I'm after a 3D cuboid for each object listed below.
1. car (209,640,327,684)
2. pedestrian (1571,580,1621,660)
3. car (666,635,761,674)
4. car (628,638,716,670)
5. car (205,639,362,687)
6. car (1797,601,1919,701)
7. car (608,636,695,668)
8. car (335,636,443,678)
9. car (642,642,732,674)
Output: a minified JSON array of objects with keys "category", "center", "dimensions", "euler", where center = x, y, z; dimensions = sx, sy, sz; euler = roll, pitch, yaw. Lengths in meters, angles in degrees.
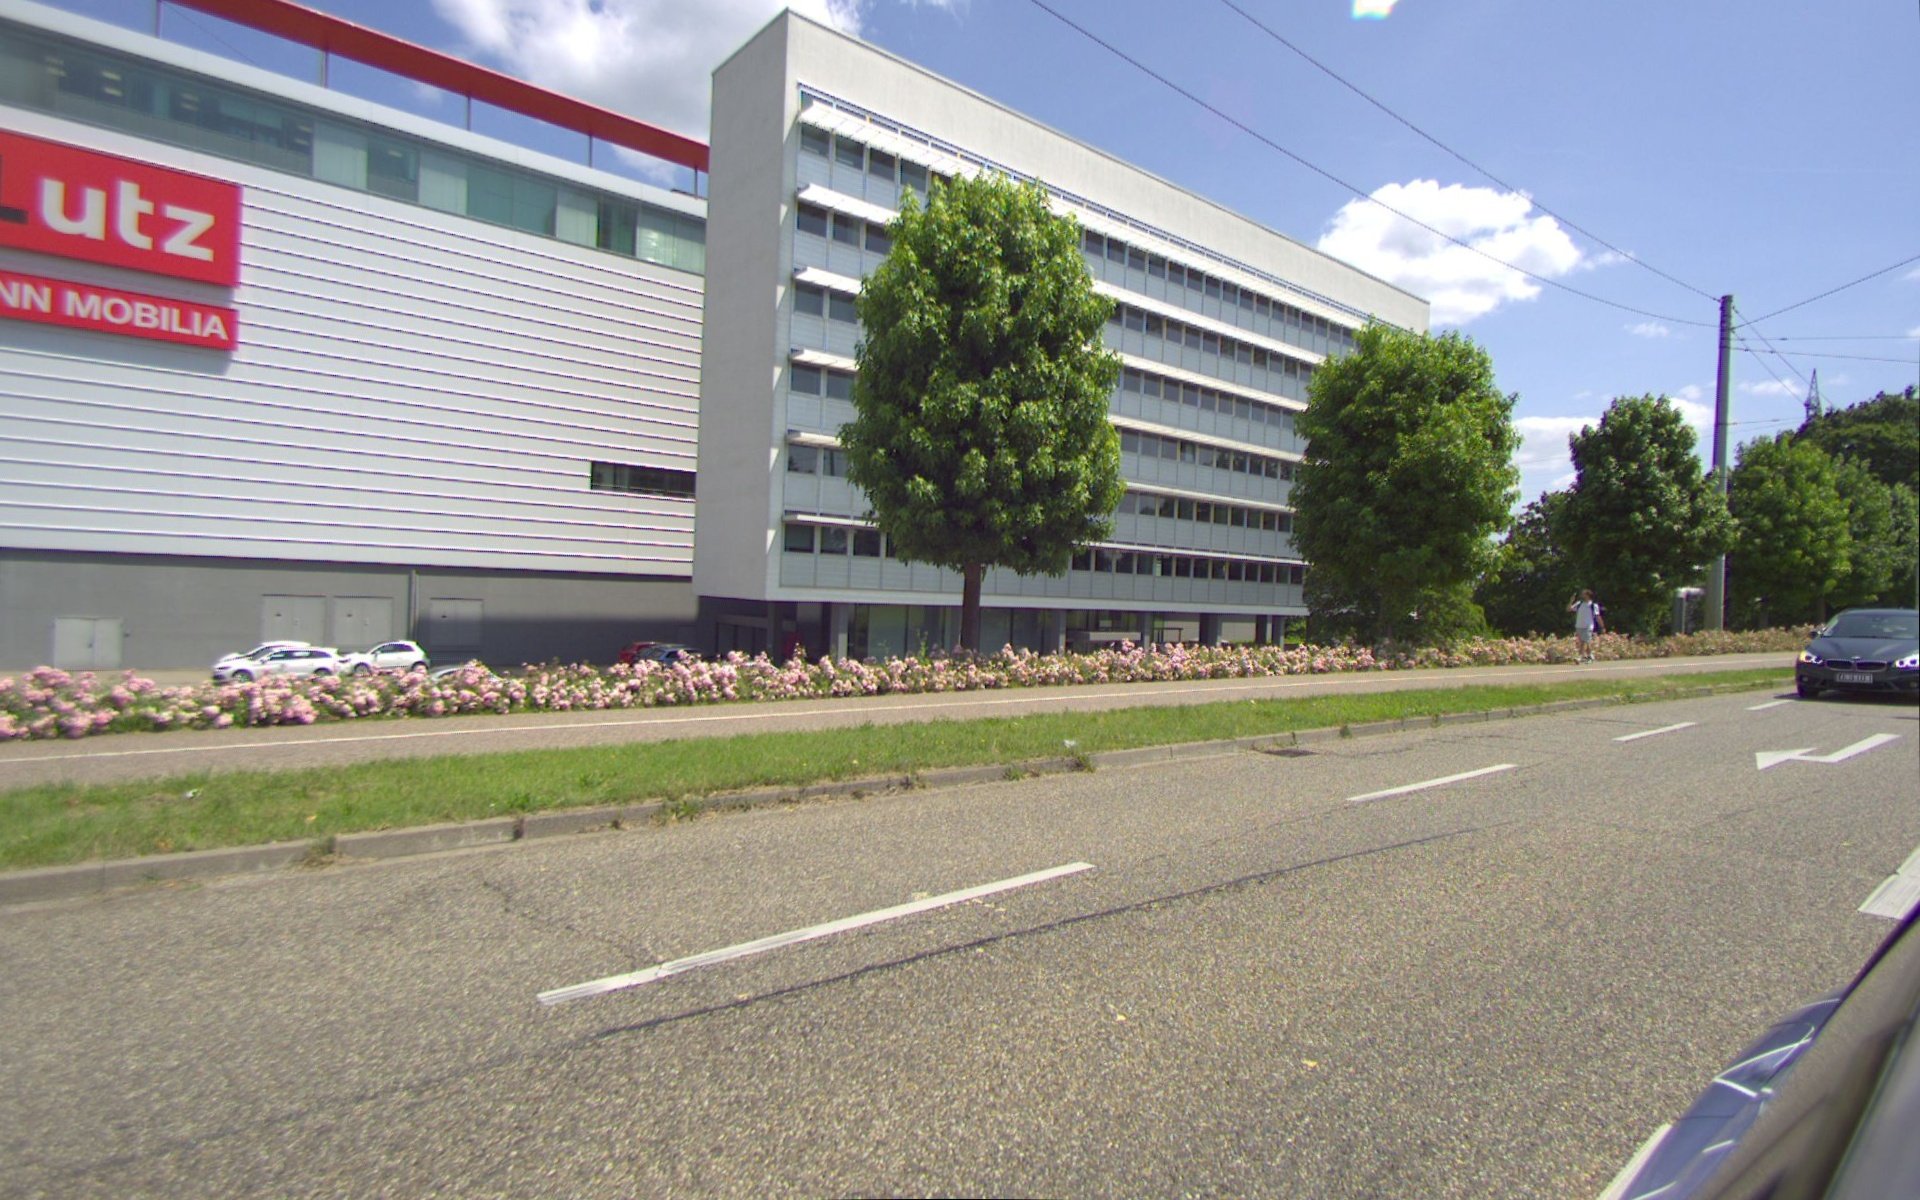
[{"category":"car","center":[-29.143,2.569,42.673],"dimensions":[3.930,1.632,1.997],"euler":[0,0,-41]},{"category":"pedestrian","center":[15.287,0.463,24.328],"dimensions":[0.913,1.872,0.758],"euler":[1,-1,-38]},{"category":"car","center":[-11.632,2.526,47.823],"dimensions":[3.930,1.632,1.997],"euler":[0,0,-41]},{"category":"car","center":[-14.431,2.660,50.862],"dimensions":[3.930,1.403,1.646],"euler":[0,0,-41]},{"category":"car","center":[-27.180,2.487,40.748],"dimensions":[5.056,1.632,1.997],"euler":[0,0,-41]},{"category":"car","center":[16.224,0.809,17.476],"dimensions":[4.022,1.546,1.766],"euler":[1,-1,-36]},{"category":"car","center":[-16.256,2.717,53.447],"dimensions":[3.930,1.465,1.997],"euler":[0,0,-41]},{"category":"car","center":[-25.622,2.529,45.459],"dimensions":[3.930,1.632,1.997],"euler":[0,0,-41]},{"category":"car","center":[-13.234,2.805,49.234],"dimensions":[3.930,1.338,1.607],"euler":[0,0,-41]}]
